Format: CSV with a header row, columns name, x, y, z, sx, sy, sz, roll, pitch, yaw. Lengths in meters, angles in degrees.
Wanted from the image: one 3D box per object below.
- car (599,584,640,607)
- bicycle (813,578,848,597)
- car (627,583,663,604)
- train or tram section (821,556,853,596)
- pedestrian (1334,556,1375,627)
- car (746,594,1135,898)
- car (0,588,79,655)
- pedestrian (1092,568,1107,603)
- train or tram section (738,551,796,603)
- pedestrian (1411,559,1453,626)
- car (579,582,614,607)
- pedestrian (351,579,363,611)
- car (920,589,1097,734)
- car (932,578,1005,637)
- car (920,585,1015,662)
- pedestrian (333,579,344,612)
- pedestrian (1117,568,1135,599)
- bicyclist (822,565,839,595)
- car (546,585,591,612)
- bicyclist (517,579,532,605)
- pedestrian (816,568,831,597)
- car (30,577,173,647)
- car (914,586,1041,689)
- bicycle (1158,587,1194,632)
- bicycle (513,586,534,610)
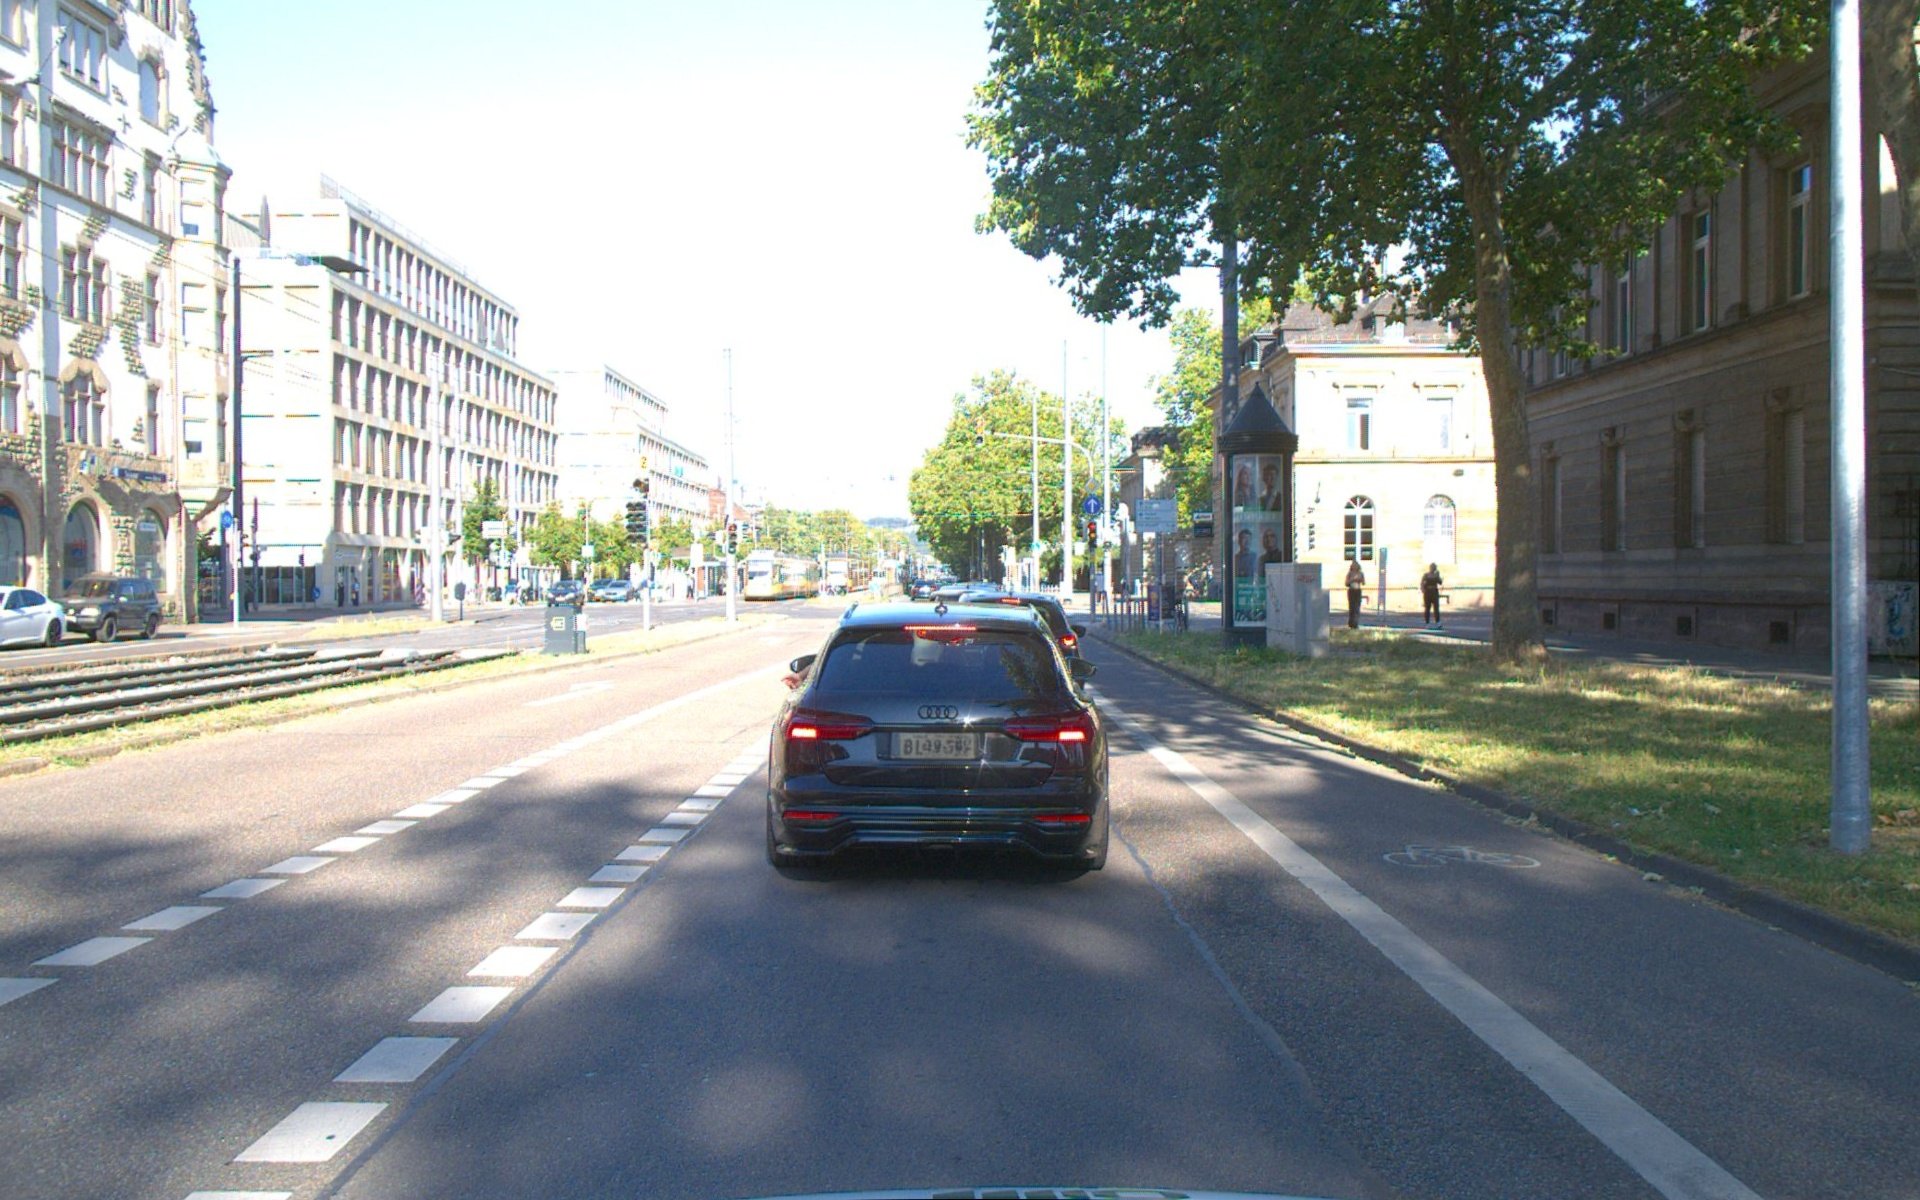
name,x,y,z,sx,sy,sz,roll,pitch,yaw
car,-23.211,-0.351,112.853,1.782,1.482,4.541,-1,1,1
bicycle,-7.856,-0.738,100.321,1.987,1.127,0.756,-1,1,-33
car,-23.247,-0.474,122.307,1.782,1.482,4.158,-1,1,1
train or tram section,-11.310,-2.246,153.046,2.556,3.511,11.128,-1,1,-2
pedestrian,9.871,-0.215,41.431,0.753,1.739,1.042,-1,0,1
car,-0.098,0.699,10.064,1.864,1.446,4.144,1,0,0
car,-22.565,0.482,38.541,1.682,1.448,4.654,2,1,-2
pedestrian,6.855,-0.702,81.310,0.668,1.689,0.758,-1,1,-3
train or tram section,-13.939,-1.689,120.392,2.755,3.550,13.202,-1,1,-1
pedestrian,11.749,-0.187,41.190,0.753,1.634,0.986,-1,0,1
car,-27.808,-0.428,126.528,1.804,1.844,4.112,-1,1,-1
pedestrian,-34.720,-0.289,95.207,0.527,1.875,0.437,-1,1,-39
car,0.510,0.644,19.631,1.864,1.512,4.144,1,0,0
car,0.215,0.179,44.900,1.864,1.512,4.144,1,0,0
car,0.140,0.454,34.567,1.864,1.512,4.144,1,0,0
pedestrian,-35.609,-0.250,94.761,0.469,1.875,0.437,-1,1,-39
pedestrian,10.094,-0.997,100.451,0.959,1.898,0.826,-1,1,-2
bicyclist,-7.829,-1.209,100.343,0.749,1.850,0.756,-1,1,-32
car,-22.644,-0.084,95.739,1.783,1.482,4.164,-1,1,-3
bicyclist,-26.484,-0.503,100.600,0.671,1.590,0.785,-1,0,0
pedestrian,-8.381,-1.087,101.752,0.731,1.772,0.658,-1,1,-27
car,-22.682,0.264,43.880,1.682,1.704,4.215,2,1,-2
car,0.252,0.545,26.549,1.864,1.512,4.144,1,0,0
bicycle,5.405,0.223,41.413,0.529,1.080,1.770,-1,1,-4
bicycle,-26.545,-0.129,100.620,0.671,1.406,1.947,-1,1,1
